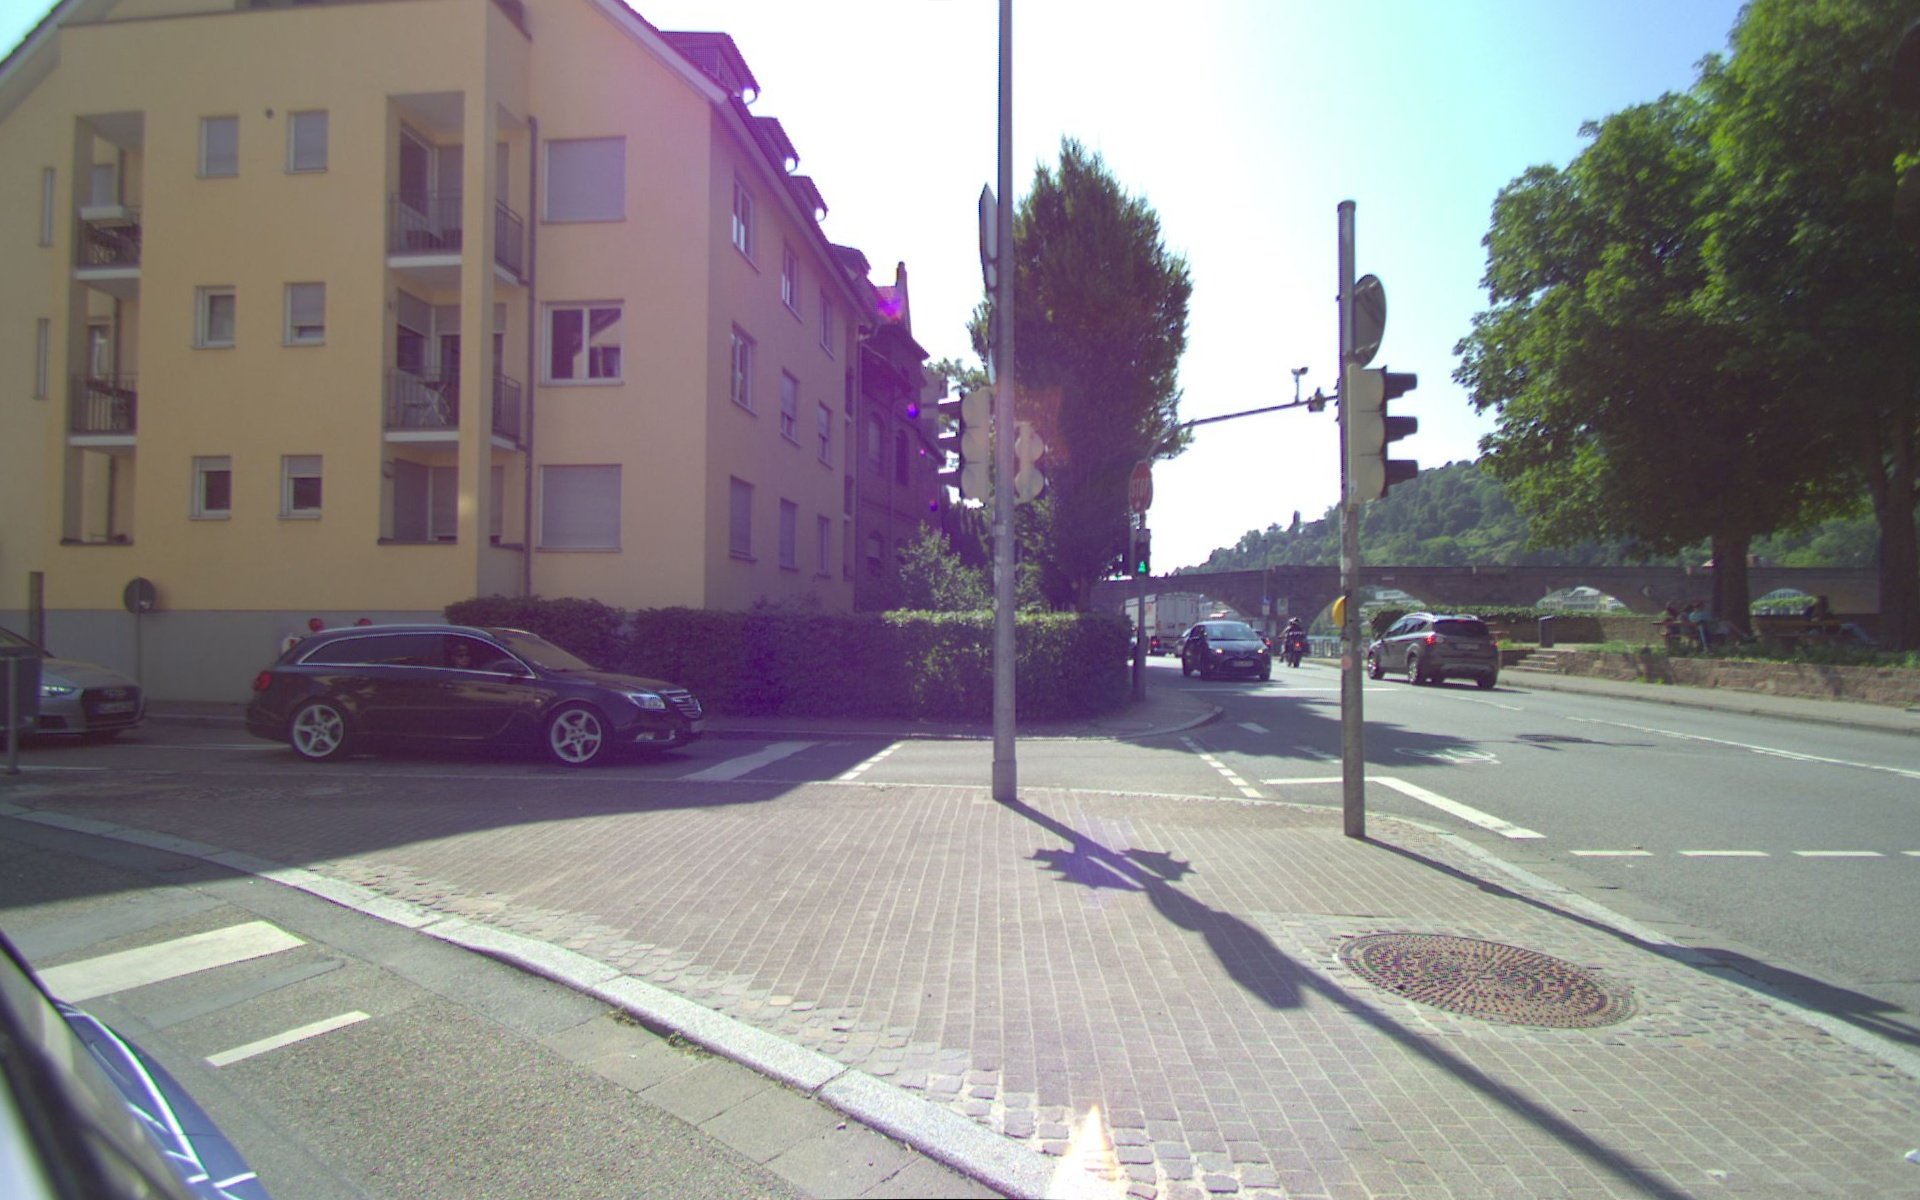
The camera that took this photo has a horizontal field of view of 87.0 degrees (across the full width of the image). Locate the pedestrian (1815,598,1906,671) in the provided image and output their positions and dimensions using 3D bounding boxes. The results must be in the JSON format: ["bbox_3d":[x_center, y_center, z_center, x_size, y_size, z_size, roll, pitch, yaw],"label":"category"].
[{"bbox_3d":[18.813,0.710,21.160,1.368,1.490,0.467,0,-2,7],"label":"pedestrian"}]

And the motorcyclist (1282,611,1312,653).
[{"bbox_3d":[12.030,1.142,36.142,0.807,1.504,0.773,1,-2,1],"label":"motorcyclist"}]

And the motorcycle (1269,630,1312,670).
[{"bbox_3d":[12.050,1.804,36.993,0.753,1.387,2.471,1,-2,0],"label":"motorcycle"}]

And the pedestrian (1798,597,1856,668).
[{"bbox_3d":[18.619,0.700,21.734,0.795,1.504,0.467,0,-2,7],"label":"pedestrian"}]

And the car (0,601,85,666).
[{"bbox_3d":[-23.684,0.801,24.246,1.829,1.556,3.994,0,0,5],"label":"car"}]

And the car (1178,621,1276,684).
[{"bbox_3d":[6.896,1.314,26.490,1.705,1.510,3.877,0,-1,3],"label":"car"}]

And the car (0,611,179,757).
[{"bbox_3d":[-11.738,0.876,11.515,4.324,1.504,1.876,1,-1,3],"label":"car"}]

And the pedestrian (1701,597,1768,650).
[{"bbox_3d":[19.089,0.575,24.956,1.209,1.280,0.467,0,-2,7],"label":"pedestrian"}]

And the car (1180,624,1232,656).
[{"bbox_3d":[12.213,1.976,50.528,1.900,1.519,3.994,0,-2,5],"label":"car"}]

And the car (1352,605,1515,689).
[{"bbox_3d":[11.409,1.069,24.764,1.819,1.766,4.409,3,0,0],"label":"car"}]

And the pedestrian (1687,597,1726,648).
[{"bbox_3d":[18.835,0.573,25.538,0.624,1.280,0.467,0,-2,7],"label":"pedestrian"}]

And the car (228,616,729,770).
[{"bbox_3d":[-5.058,0.975,11.045,4.661,1.473,1.718,1,-3,3],"label":"car"}]

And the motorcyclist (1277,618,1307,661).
[{"bbox_3d":[12.079,1.430,36.826,0.807,1.506,0.874,0,0,1],"label":"motorcyclist"}]

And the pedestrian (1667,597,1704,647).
[{"bbox_3d":[18.927,0.571,26.418,0.624,1.280,0.467,0,-2,7],"label":"pedestrian"}]

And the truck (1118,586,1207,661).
[{"bbox_3d":[12.471,1.475,63.717,3.170,4.246,12.761,0,-2,1],"label":"truck"}]

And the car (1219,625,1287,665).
[{"bbox_3d":[12.208,1.850,42.450,1.975,1.608,3.994,0,-2,5],"label":"car"}]
